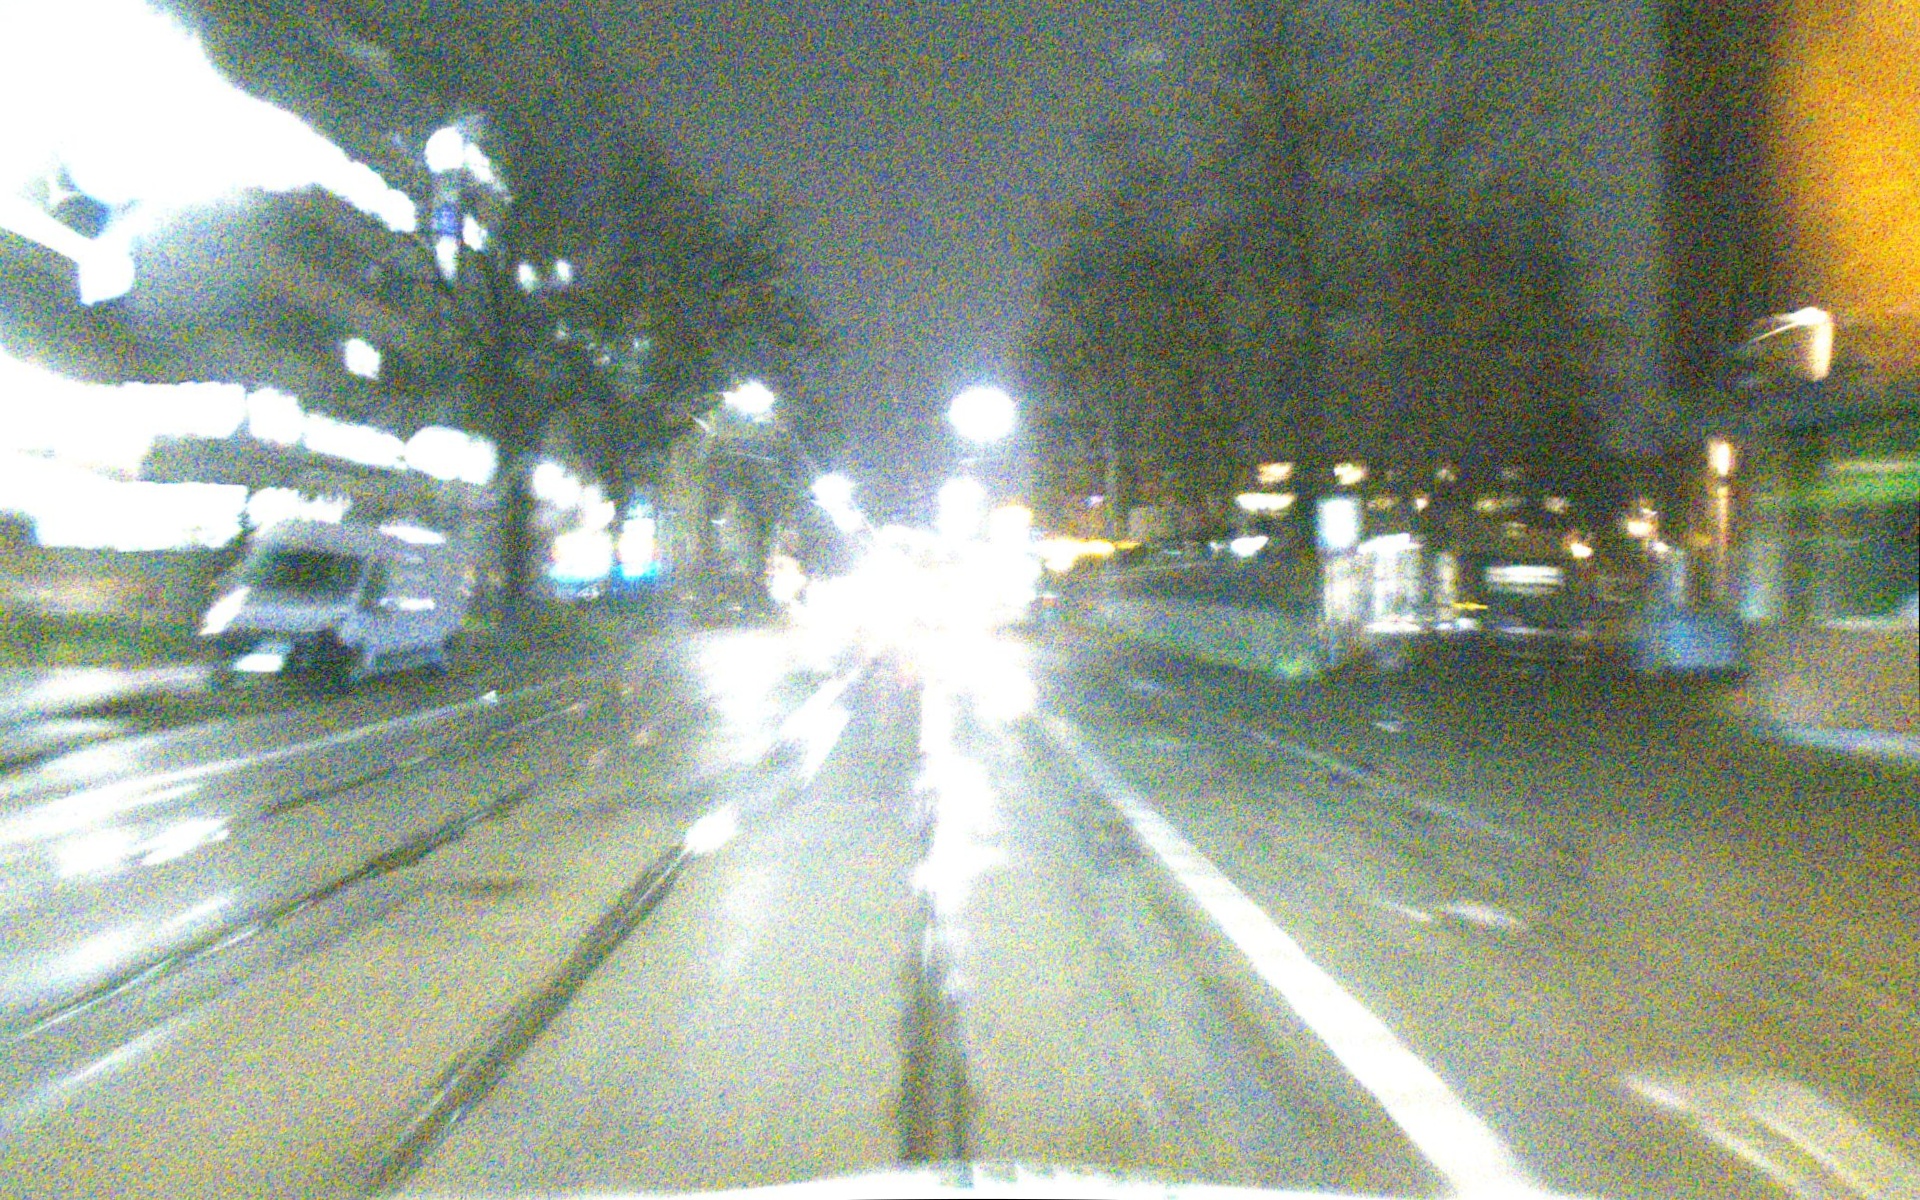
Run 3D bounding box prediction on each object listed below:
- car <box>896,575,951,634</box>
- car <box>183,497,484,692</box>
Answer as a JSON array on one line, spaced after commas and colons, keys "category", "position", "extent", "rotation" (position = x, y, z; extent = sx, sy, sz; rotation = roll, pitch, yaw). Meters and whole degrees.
[{"category": "car", "position": [-1.591, 0.181, 70.753], "extent": [2.199, 2.402, 4.392], "rotation": [1, 0, -2]}, {"category": "car", "position": [-9.564, -0.118, 25.998], "extent": [2.140, 2.637, 6.393], "rotation": [1, 1, 1]}]
